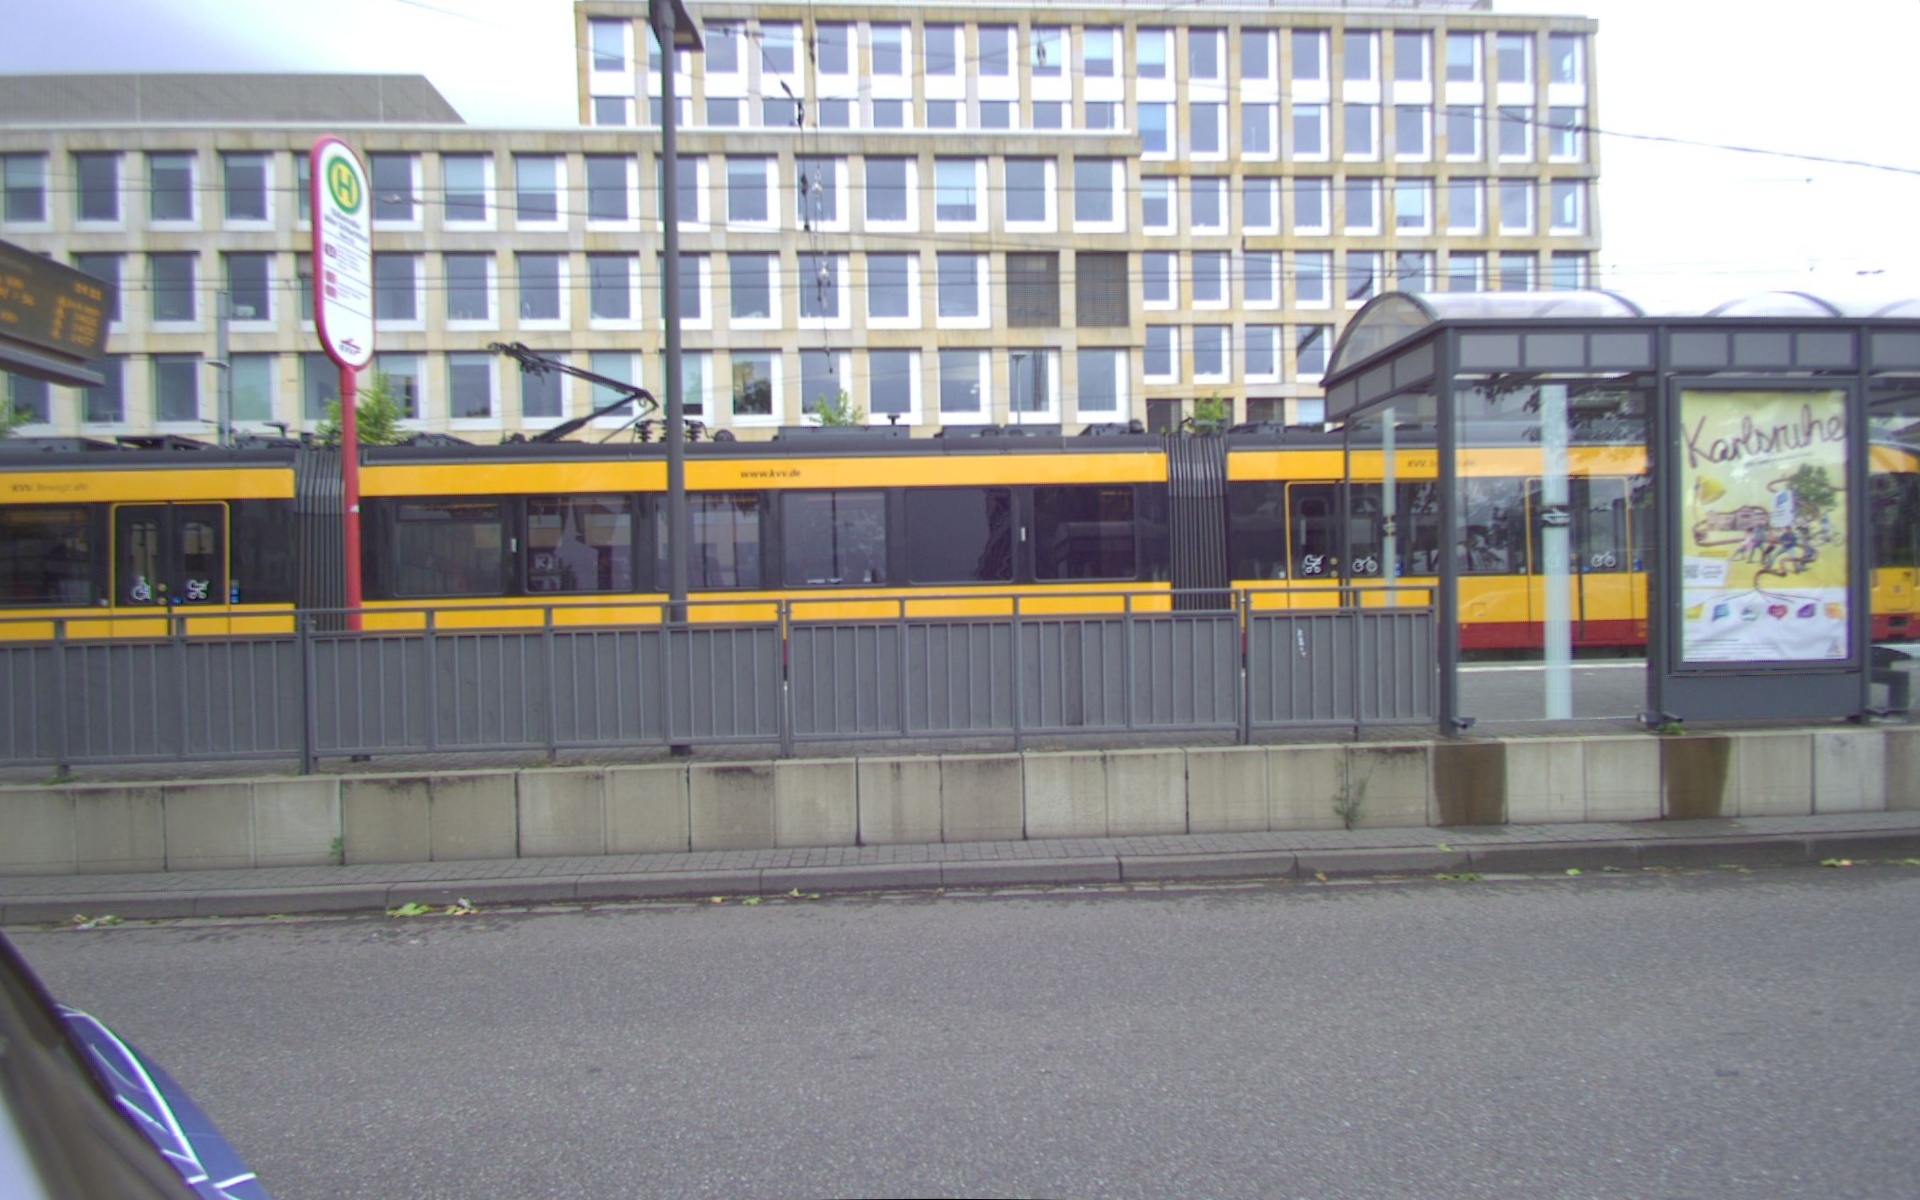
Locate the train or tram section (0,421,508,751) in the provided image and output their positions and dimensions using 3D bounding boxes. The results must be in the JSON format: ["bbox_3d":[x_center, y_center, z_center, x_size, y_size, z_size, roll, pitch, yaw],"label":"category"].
[{"bbox_3d":[-14.515,-0.123,14.495,14.515,4.210,3.193,-1,0,-3],"label":"train or tram section"}]

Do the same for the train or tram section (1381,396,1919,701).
[{"bbox_3d":[14.553,-0.809,16.014,14.515,4.210,3.193,-1,0,-3],"label":"train or tram section"}]

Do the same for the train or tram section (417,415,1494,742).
[{"bbox_3d":[0.028,-0.351,15.280,14.515,4.210,3.193,-1,0,-3],"label":"train or tram section"}]
